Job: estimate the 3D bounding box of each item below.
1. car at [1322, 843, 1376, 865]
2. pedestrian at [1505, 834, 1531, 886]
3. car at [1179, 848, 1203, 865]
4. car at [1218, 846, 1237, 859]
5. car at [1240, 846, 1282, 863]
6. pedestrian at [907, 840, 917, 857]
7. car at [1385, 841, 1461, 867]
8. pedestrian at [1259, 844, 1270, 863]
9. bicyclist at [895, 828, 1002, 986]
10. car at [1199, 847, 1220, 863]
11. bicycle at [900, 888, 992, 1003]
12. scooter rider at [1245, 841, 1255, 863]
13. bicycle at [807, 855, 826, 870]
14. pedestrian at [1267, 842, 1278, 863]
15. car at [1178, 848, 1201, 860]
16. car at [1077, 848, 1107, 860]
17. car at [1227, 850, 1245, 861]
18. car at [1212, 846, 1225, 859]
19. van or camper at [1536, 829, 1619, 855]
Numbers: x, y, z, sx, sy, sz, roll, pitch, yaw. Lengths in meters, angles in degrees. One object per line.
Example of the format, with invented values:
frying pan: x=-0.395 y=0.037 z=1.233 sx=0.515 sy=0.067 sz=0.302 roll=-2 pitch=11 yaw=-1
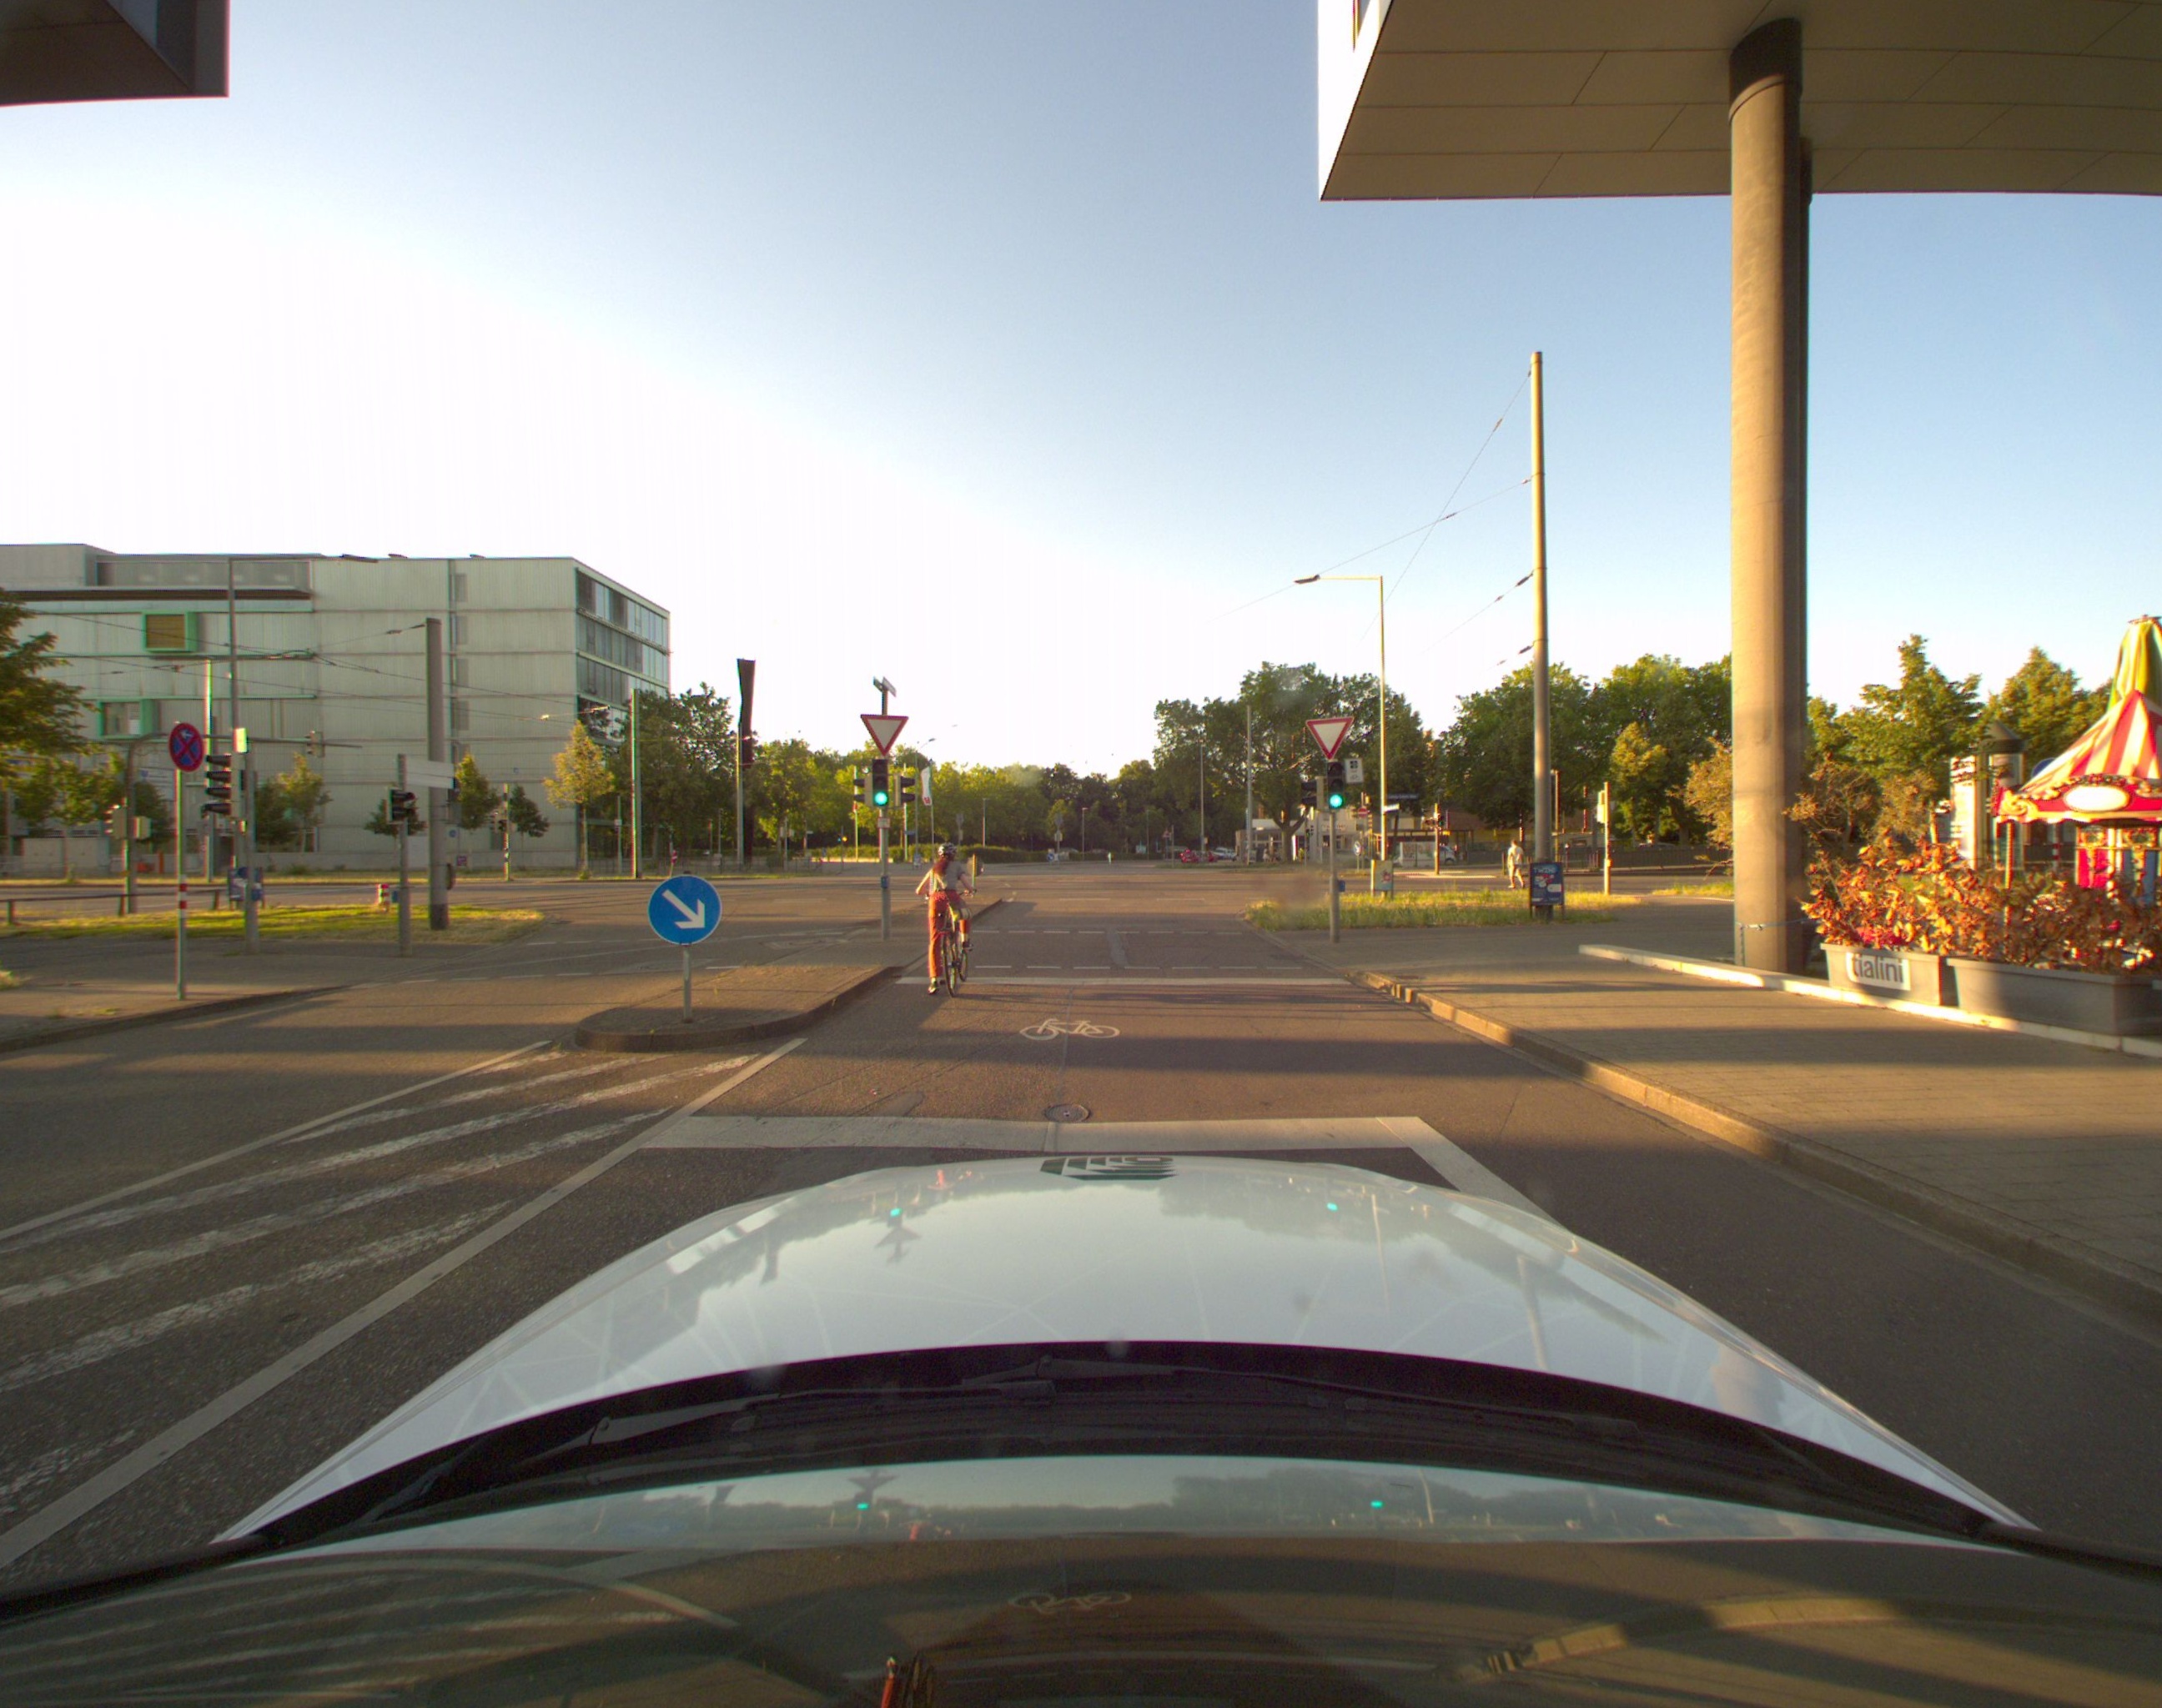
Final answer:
car: x=23.648 y=-0.013 z=72.060 sx=4.211 sy=1.846 sz=2.002 roll=-1 pitch=0 yaw=4
pedestrian: x=15.460 y=0.199 z=28.793 sx=0.754 sy=1.791 sz=0.807 roll=0 pitch=0 yaw=32
car: x=12.911 y=0.286 z=95.560 sx=1.852 sy=1.874 sz=3.896 roll=0 pitch=0 yaw=23
car: x=24.342 y=-0.276 z=135.295 sx=1.975 sy=2.013 sz=4.024 roll=-1 pitch=0 yaw=27
car: x=19.573 y=0.029 z=88.660 sx=4.354 sy=1.835 sz=1.952 roll=-1 pitch=0 yaw=6
pedestrian: x=-17.596 y=-0.578 z=84.734 sx=0.898 sy=1.754 sz=0.715 roll=-1 pitch=0 yaw=-24
car: x=23.648 y=-0.008 z=56.446 sx=4.523 sy=1.728 sz=1.860 roll=-1 pitch=0 yaw=-3
pedestrian: x=15.435 y=-0.054 z=68.555 sx=0.712 sy=1.639 sz=0.903 roll=-1 pitch=0 yaw=26
bicyclist: x=-1.498 y=0.572 z=9.390 sx=1.028 sy=1.717 sz=0.996 roll=-1 pitch=0 yaw=1
car: x=16.242 y=0.113 z=103.101 sx=1.899 sy=2.047 sz=4.020 roll=0 pitch=0 yaw=20
bicycle: x=-1.497 y=0.984 z=9.383 sx=0.632 sy=1.068 sz=2.123 roll=-1 pitch=0 yaw=2
scooter rider: x=13.864 y=-0.153 z=66.919 sx=0.699 sy=1.855 sz=0.669 roll=0 pitch=-1 yaw=1
bicycle: x=-20.731 y=0.630 z=63.884 sx=0.697 sy=1.136 sz=2.392 roll=-1 pitch=0 yaw=-1
pedestrian: x=15.926 y=-0.141 z=67.745 sx=0.712 sy=1.754 sz=0.903 roll=-1 pitch=0 yaw=26
car: x=14.341 y=0.017 z=107.646 sx=1.739 sy=1.541 sz=4.425 roll=-1 pitch=-1 yaw=24
car: x=1.474 y=0.010 z=109.671 sx=3.970 sy=1.561 sz=2.002 roll=-1 pitch=0 yaw=3
car: x=21.980 y=0.210 z=115.162 sx=1.899 sy=1.602 sz=4.020 roll=0 pitch=0 yaw=20
car: x=22.064 y=-0.296 z=130.850 sx=1.982 sy=2.013 sz=4.010 roll=-1 pitch=0 yaw=9
van or camper: x=47.916 y=-1.113 z=78.755 sx=6.530 sy=2.410 sz=2.268 roll=0 pitch=0 yaw=6
